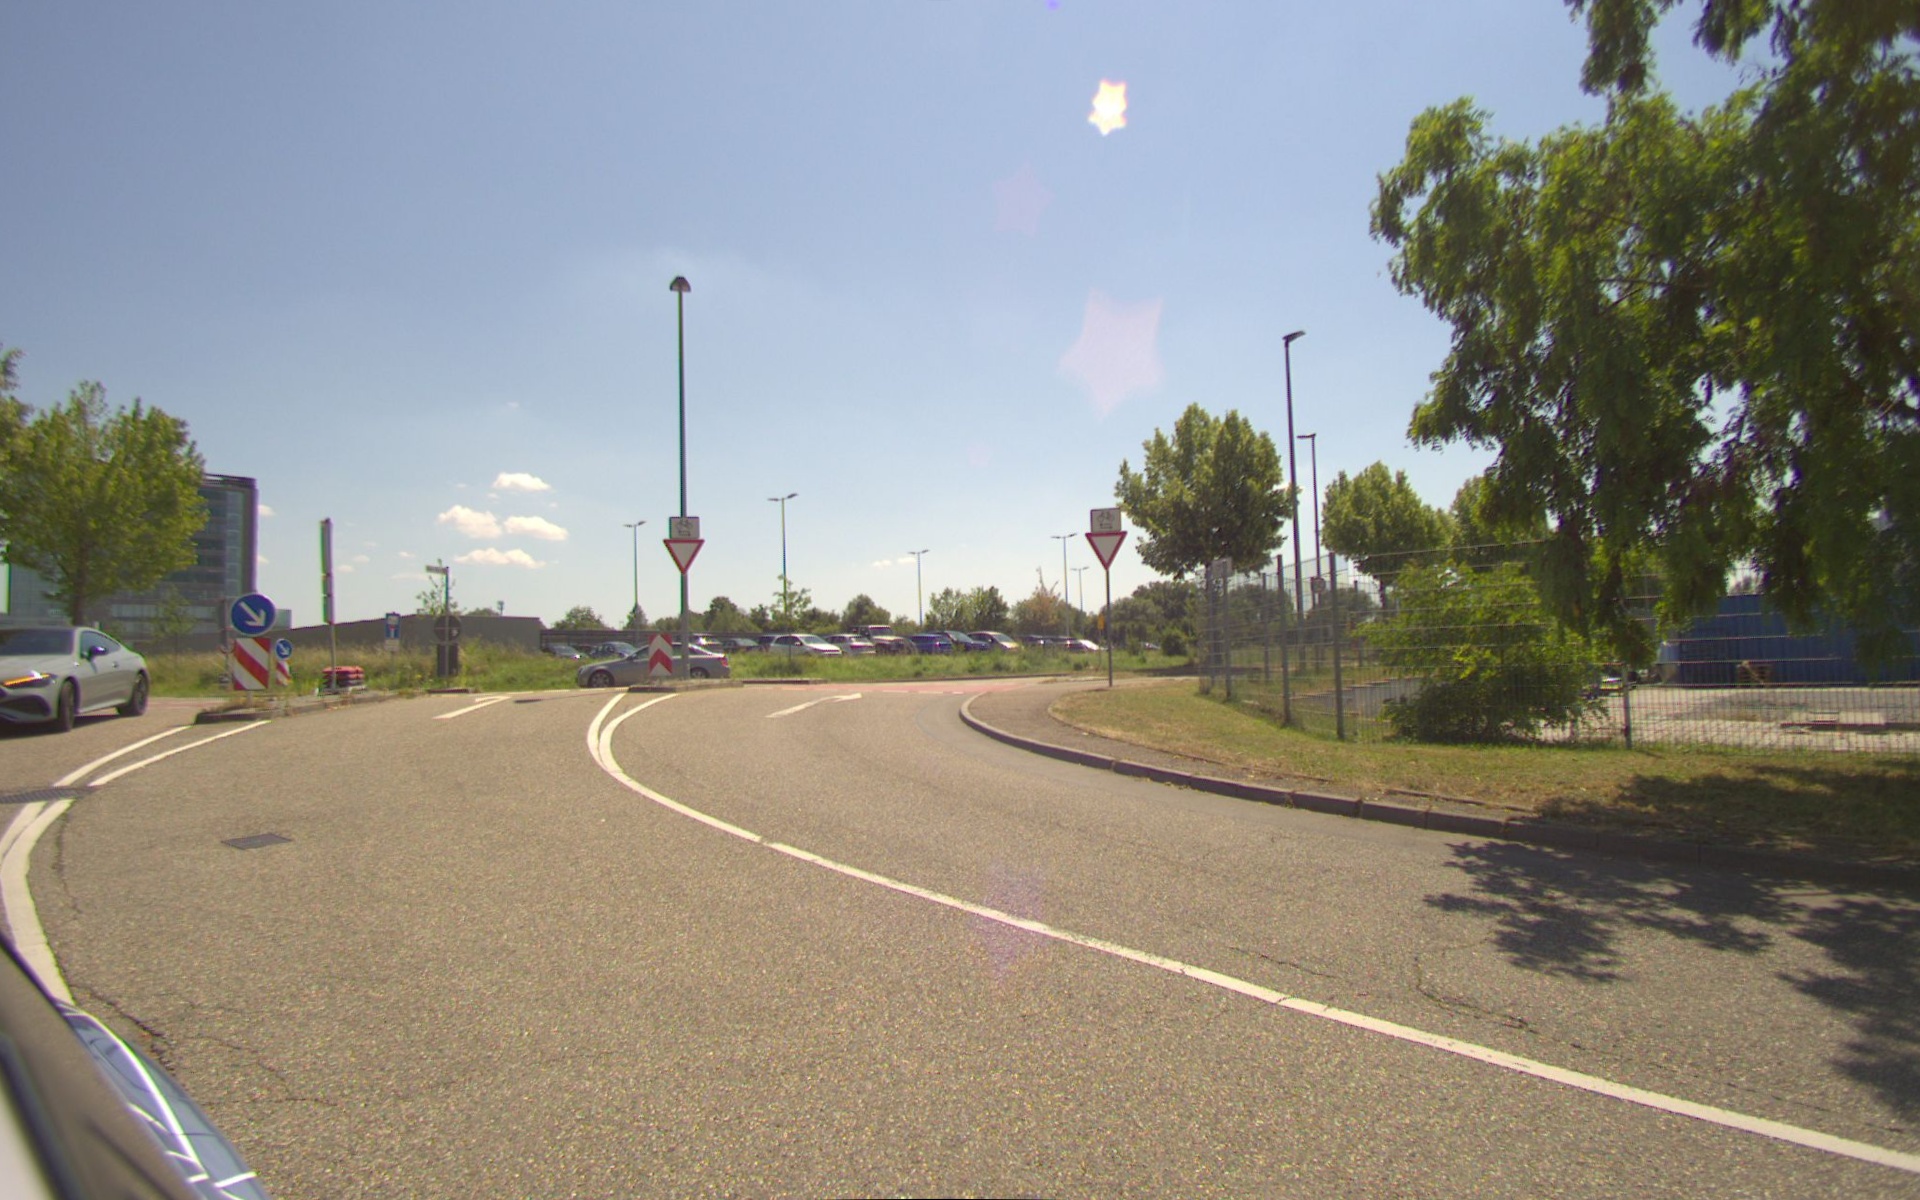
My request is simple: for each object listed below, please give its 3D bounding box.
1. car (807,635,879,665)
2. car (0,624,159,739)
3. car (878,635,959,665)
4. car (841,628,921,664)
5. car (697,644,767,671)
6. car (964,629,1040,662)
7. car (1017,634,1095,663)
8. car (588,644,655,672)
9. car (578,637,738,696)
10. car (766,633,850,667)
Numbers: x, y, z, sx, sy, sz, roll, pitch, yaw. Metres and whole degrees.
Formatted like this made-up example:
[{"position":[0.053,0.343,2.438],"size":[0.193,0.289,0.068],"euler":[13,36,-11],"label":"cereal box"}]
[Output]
[{"position":[-5.413,2.306,46.642],"size":[3.269,1.191,1.481],"euler":[-5,-3,41],"label":"car"},{"position":[-13.162,1.124,14.243],"size":[1.866,1.394,4.648],"euler":[-1,-3,-24],"label":"car"},{"position":[-2.109,2.504,50.573],"size":[3.942,1.267,1.565],"euler":[-5,-3,39],"label":"car"},{"position":[-3.814,2.214,48.614],"size":[1.848,1.539,3.752],"euler":[-1,-3,-43],"label":"car"},{"position":[-12.255,3.112,54.296],"size":[3.846,1.373,1.630],"euler":[-3,-3,40],"label":"car"},{"position":[2.224,2.424,53.793],"size":[3.845,1.636,1.596],"euler":[-4,-4,39],"label":"car"},{"position":[5.361,2.756,56.891],"size":[3.999,1.301,1.882],"euler":[-8,-6,42],"label":"car"},{"position":[-18.669,3.192,55.748],"size":[3.630,1.457,1.633],"euler":[-4,-4,34],"label":"car"},{"position":[-9.053,2.009,30.425],"size":[4.420,1.385,1.679],"euler":[-3,-5,-18],"label":"car"},{"position":[-6.748,2.228,44.628],"size":[3.877,1.307,1.552],"euler":[-5,-3,43],"label":"car"}]
